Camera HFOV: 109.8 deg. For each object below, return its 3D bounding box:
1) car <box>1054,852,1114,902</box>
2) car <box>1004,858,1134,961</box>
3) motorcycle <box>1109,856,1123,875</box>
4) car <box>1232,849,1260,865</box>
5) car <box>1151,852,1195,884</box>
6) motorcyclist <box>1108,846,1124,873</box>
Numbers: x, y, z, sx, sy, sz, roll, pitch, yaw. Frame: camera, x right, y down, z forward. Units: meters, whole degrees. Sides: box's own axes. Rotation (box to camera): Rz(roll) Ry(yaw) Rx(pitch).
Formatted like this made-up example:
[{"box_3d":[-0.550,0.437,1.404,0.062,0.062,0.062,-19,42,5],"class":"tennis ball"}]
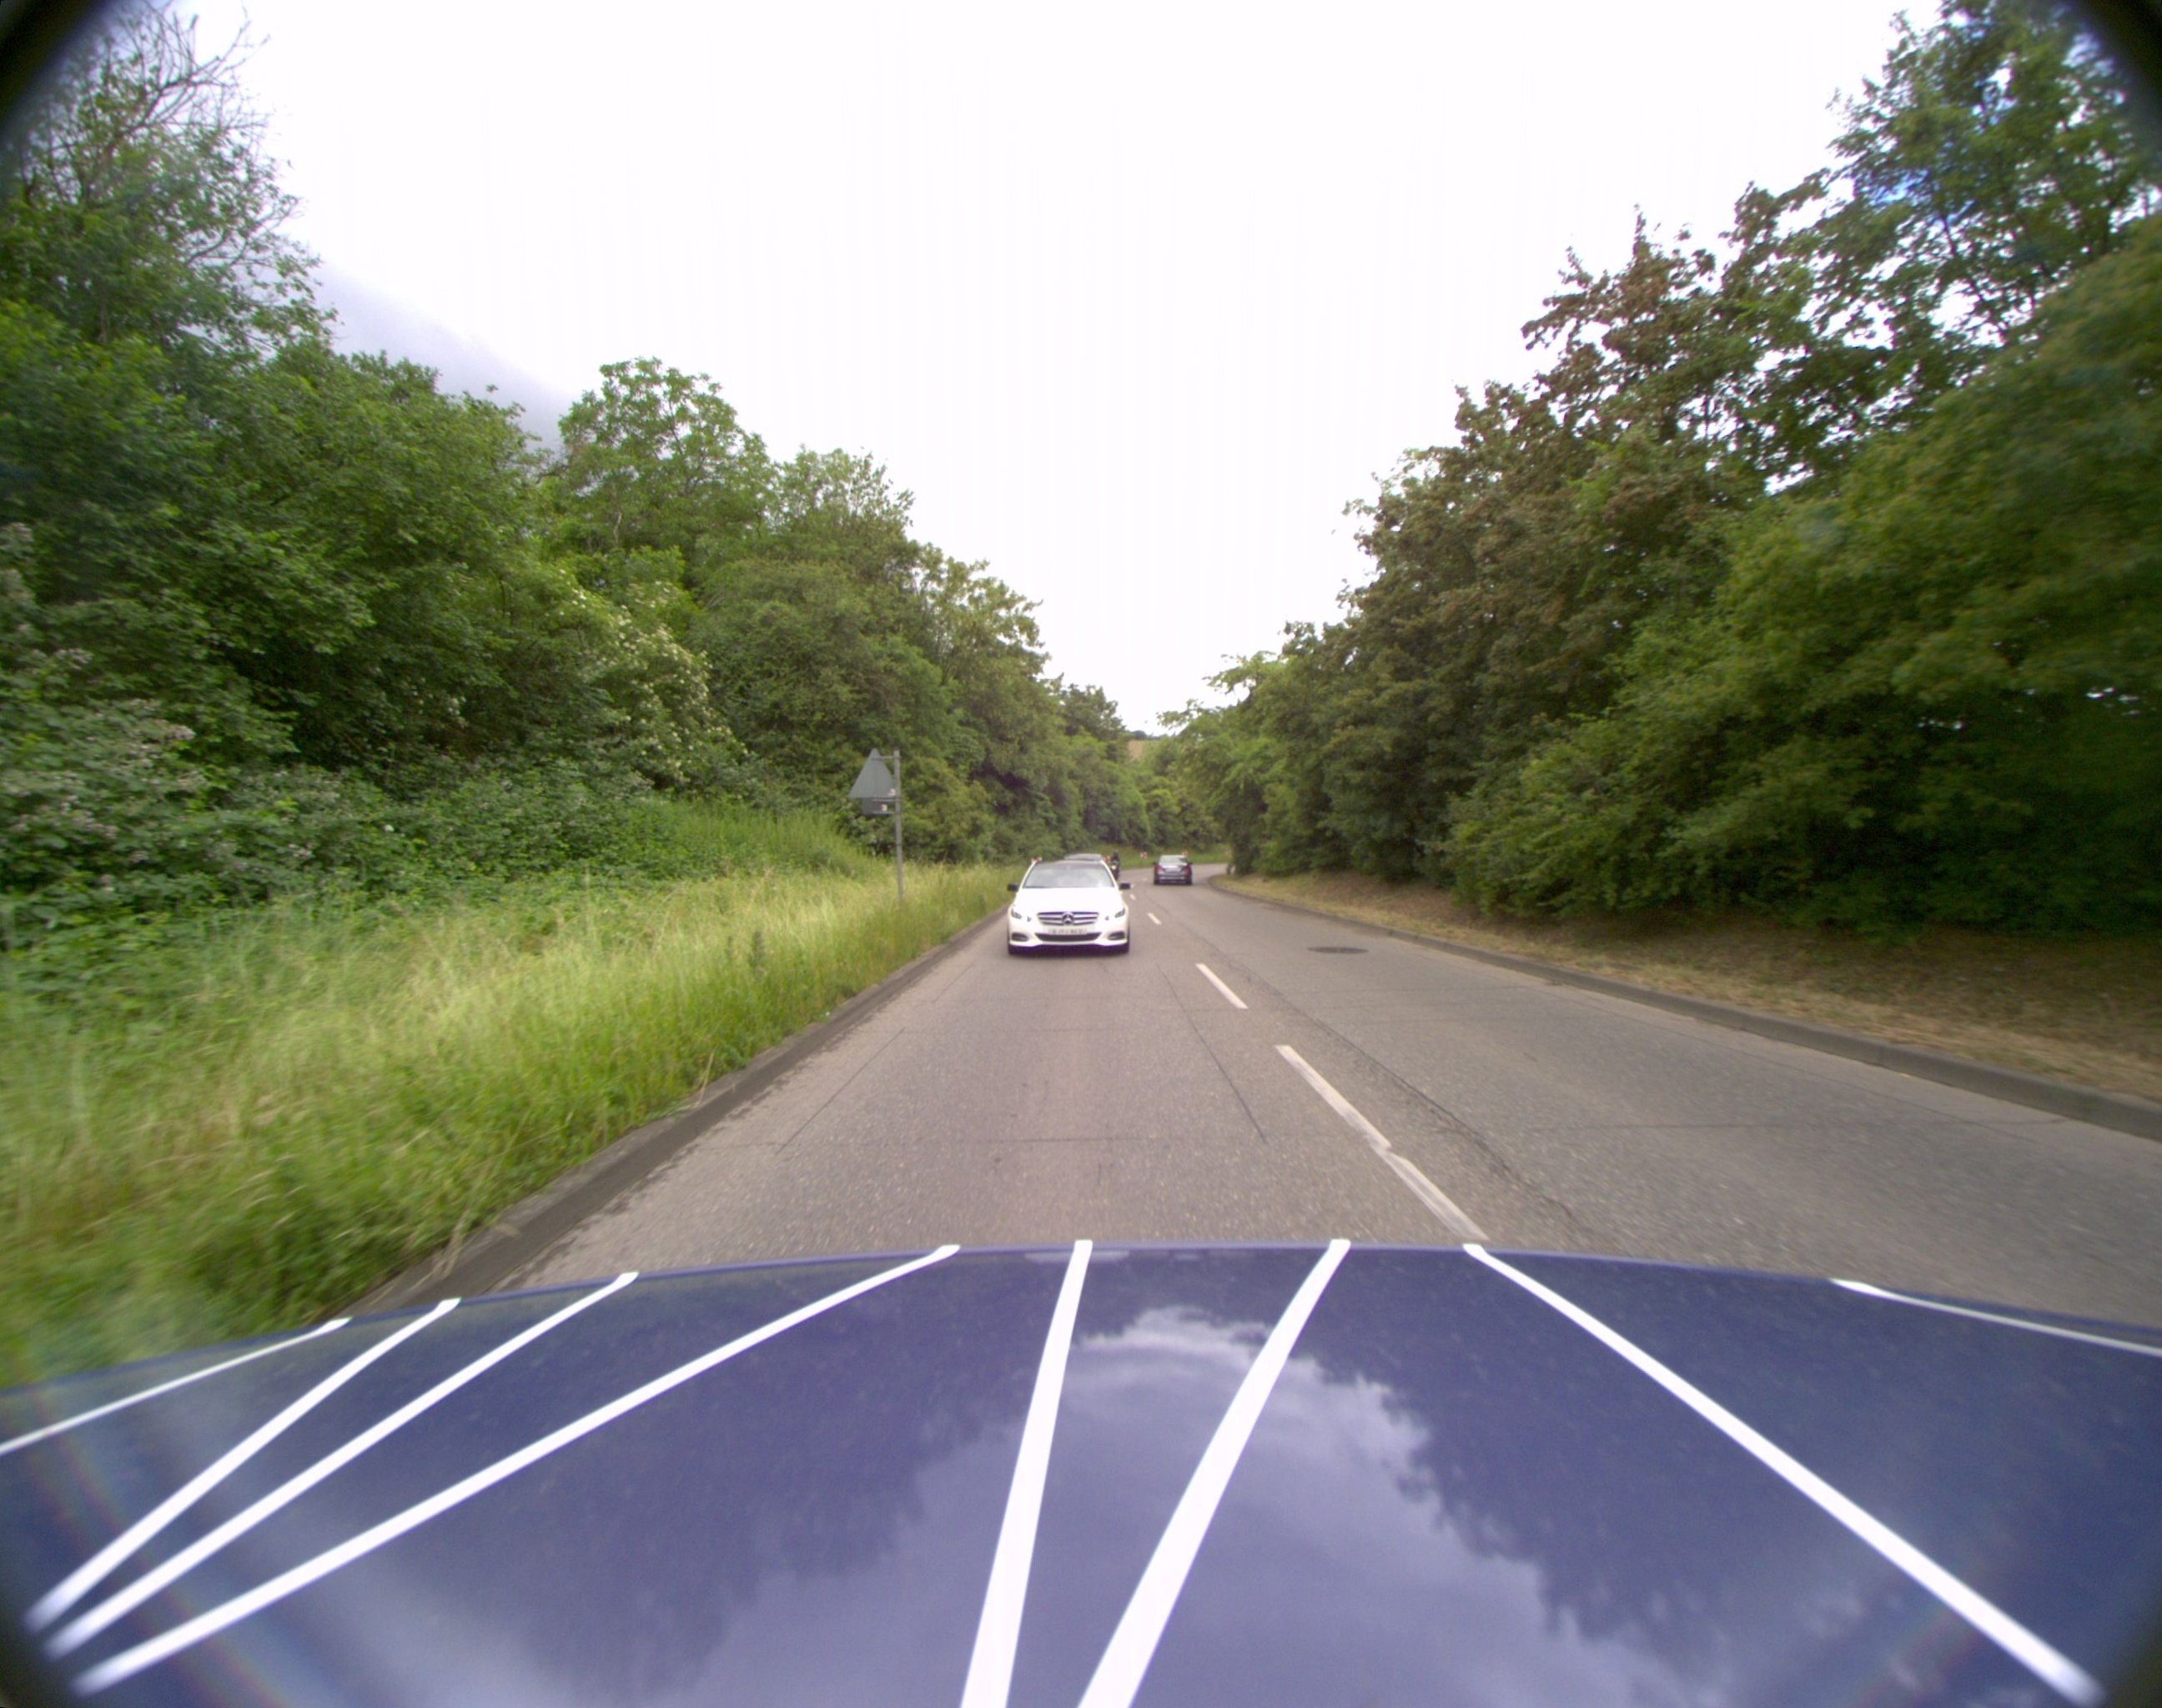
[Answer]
[{"box_3d":[0.161,0.707,25.247,1.822,1.535,3.726,0,0,3],"class":"car"},{"box_3d":[-0.206,0.838,13.343,1.887,1.414,3.999,-2,0,-1],"class":"car"},{"box_3d":[1.957,0.653,42.546,0.702,0.970,1.694,2,2,2],"class":"motorcycle"},{"box_3d":[15.576,0.269,71.809,1.634,1.397,3.604,0,0,28],"class":"car"},{"box_3d":[4.656,0.649,37.933,1.834,1.397,4.435,-3,0,10],"class":"car"},{"box_3d":[1.923,0.319,42.437,0.819,1.457,0.787,3,2,2],"class":"motorcyclist"}]
